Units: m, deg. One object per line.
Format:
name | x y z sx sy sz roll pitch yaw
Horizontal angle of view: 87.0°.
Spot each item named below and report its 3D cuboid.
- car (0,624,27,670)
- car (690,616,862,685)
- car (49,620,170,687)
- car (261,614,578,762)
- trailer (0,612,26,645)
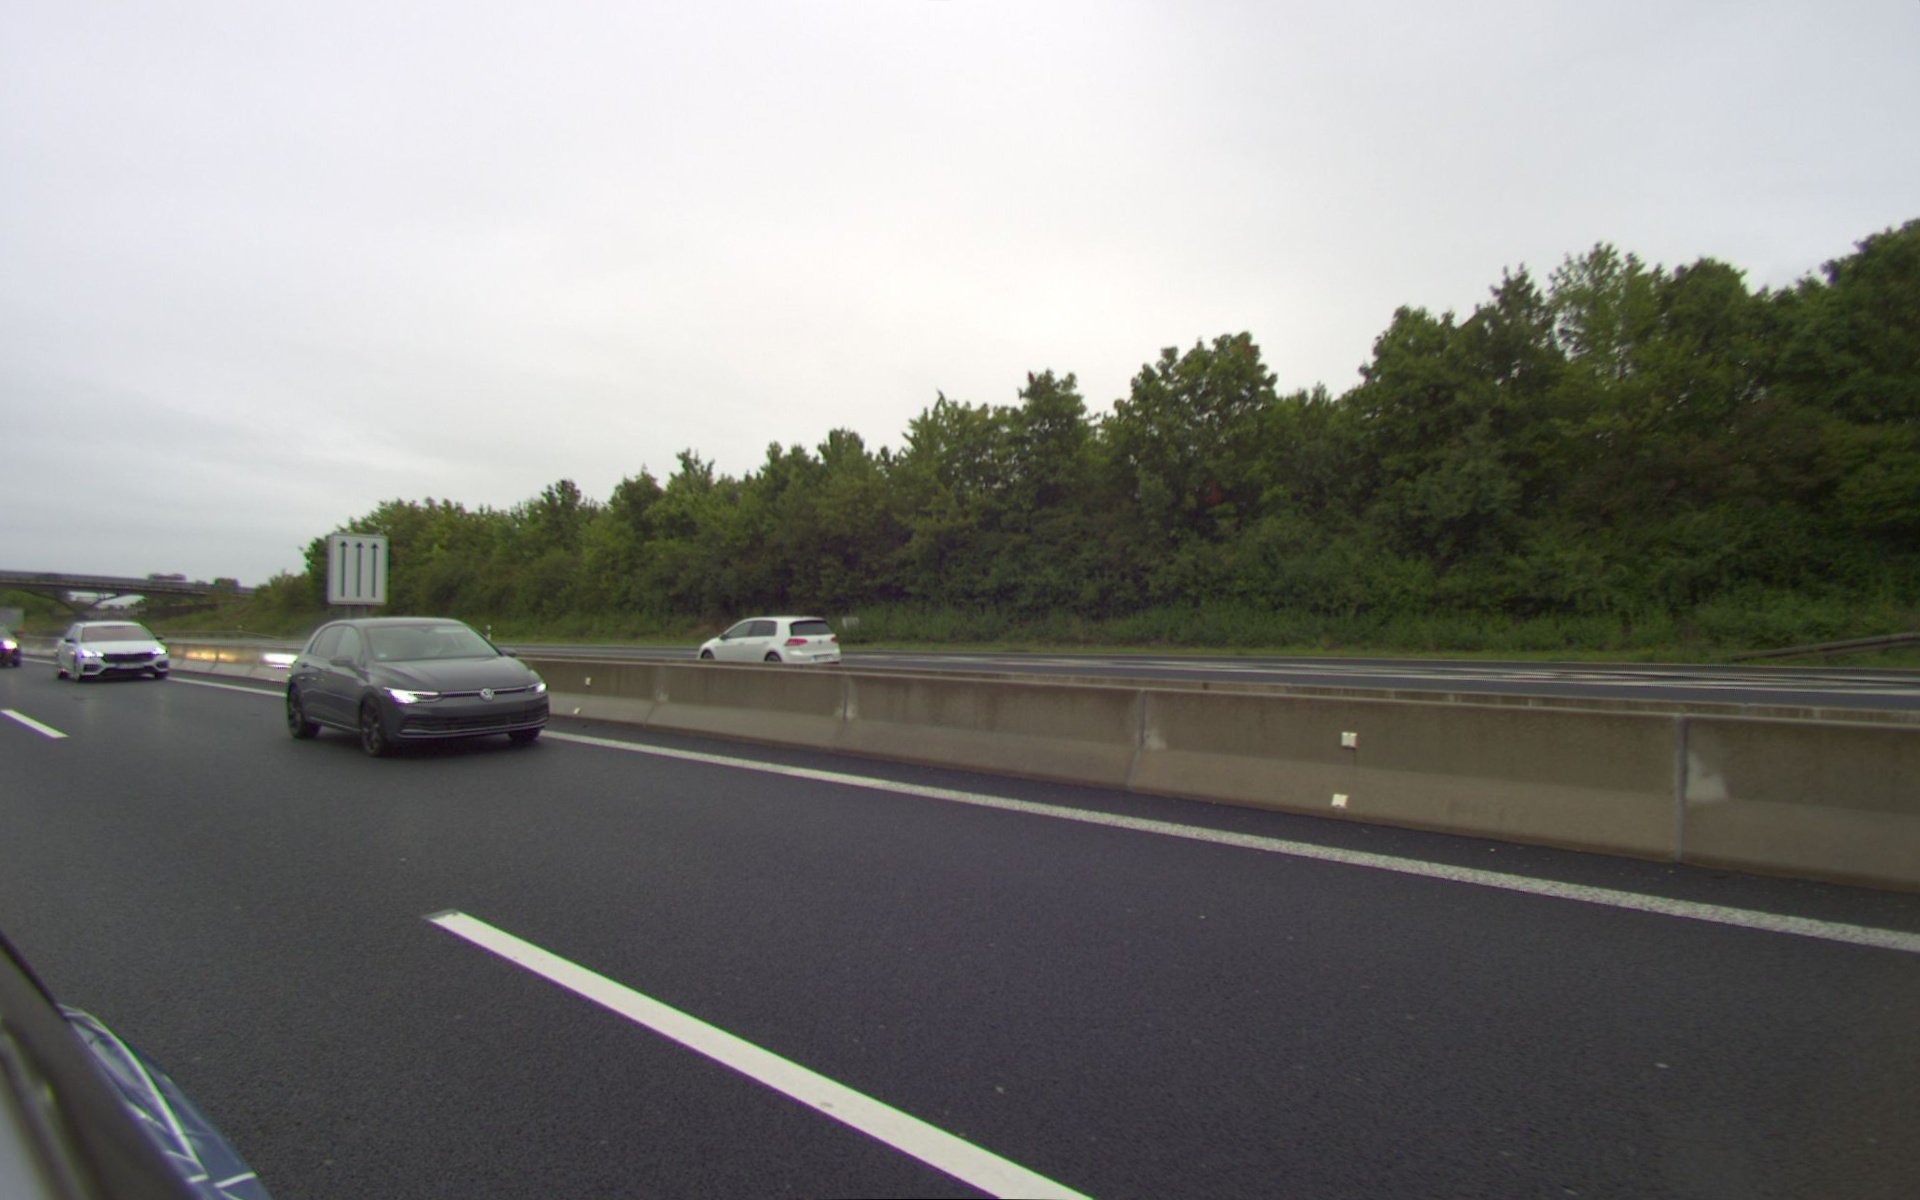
car | -33.014 1.575 34.094 4.112 1.518 1.881 -2 -1 41
car | -4.487 1.165 24.385 4.138 1.518 1.962 -2 -1 42
car | -21.428 1.297 25.442 4.114 1.518 1.879 -2 -1 43
car | -6.492 0.899 11.925 4.457 1.416 1.880 -2 -1 42
trailer | -122.895 3.649 129.579 13.834 4.114 3.226 -2 -1 40
